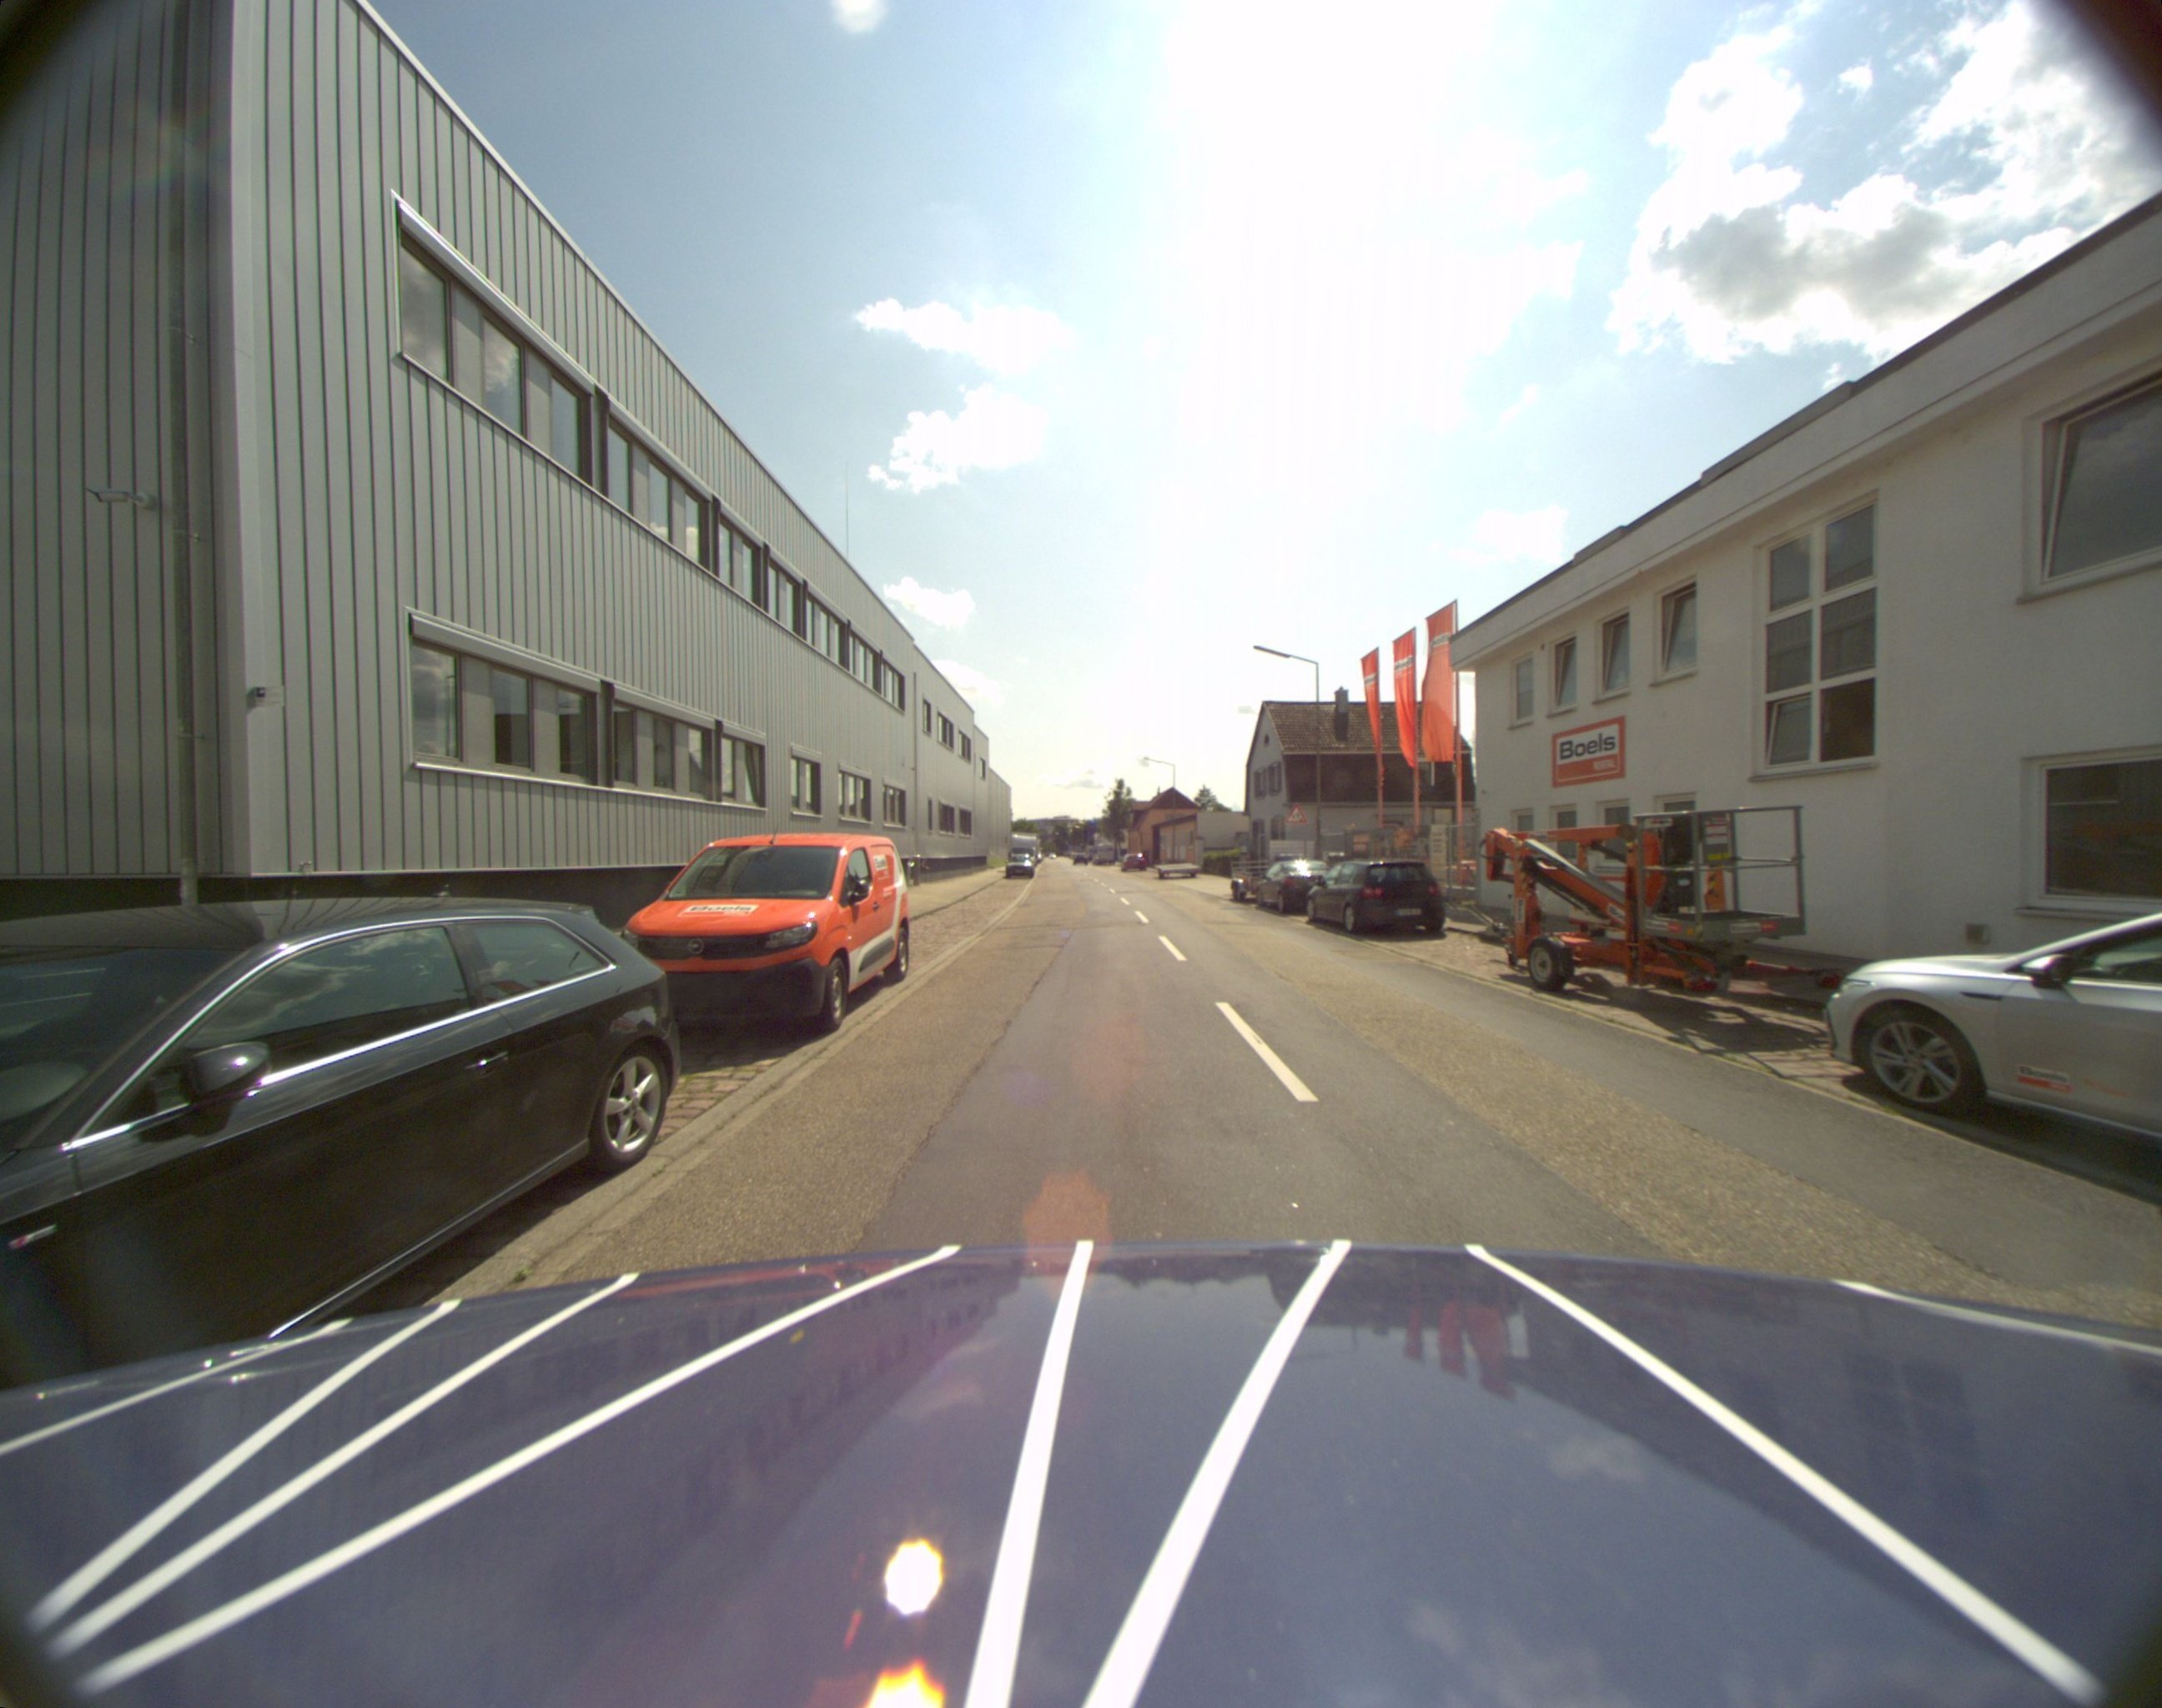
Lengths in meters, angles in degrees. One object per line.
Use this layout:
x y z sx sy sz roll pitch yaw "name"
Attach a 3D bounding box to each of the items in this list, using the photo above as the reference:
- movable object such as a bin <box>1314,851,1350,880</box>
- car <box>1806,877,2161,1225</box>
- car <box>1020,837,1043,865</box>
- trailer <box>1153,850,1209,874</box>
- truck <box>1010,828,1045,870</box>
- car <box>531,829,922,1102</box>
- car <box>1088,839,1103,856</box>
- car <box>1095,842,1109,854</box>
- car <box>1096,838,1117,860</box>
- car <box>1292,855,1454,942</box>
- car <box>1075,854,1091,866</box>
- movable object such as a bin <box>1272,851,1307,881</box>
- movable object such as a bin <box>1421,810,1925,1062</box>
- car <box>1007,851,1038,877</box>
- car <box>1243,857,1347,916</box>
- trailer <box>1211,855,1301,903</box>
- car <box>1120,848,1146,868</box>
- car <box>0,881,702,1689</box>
12.344 0.568 37.446 1.319 1.419 1.151 0 1 -5 "movable object such as a bin"
5.719 0.936 2.864 1.677 1.447 4.513 -2 1 1 "car"
-6.194 -0.383 96.026 2.419 3.269 6.896 5 0 -2 "car"
5.830 0.434 45.123 2.457 1.157 6.051 -2 1 0 "trailer"
-4.549 -0.443 63.905 2.608 3.207 8.073 -3 1 -5 "truck"
-3.090 0.806 7.867 1.877 1.881 4.451 -5 1 -1 "car"
2.250 -1.114 122.346 1.999 2.556 5.822 -3 1 -2 "car"
2.797 -0.782 103.012 1.658 1.483 3.715 -3 1 -2 "car"
3.160 -0.610 95.831 2.079 2.527 5.822 -3 1 -2 "car"
5.844 0.803 15.796 1.677 1.447 4.223 -2 1 0 "car"
0.232 0.716 94.234 1.740 1.434 3.998 0 1 -3 "car"
10.236 0.591 37.341 1.319 1.419 1.188 0 1 -5 "movable object such as a bin"
5.902 0.650 8.661 1.618 1.908 5.138 -4 0 0 "movable object such as a bin"
-3.817 0.636 50.077 1.715 1.502 4.113 -3 1 -2 "car"
5.775 0.819 20.969 1.677 1.368 3.883 -2 1 -1 "car"
5.809 0.764 25.917 1.772 1.368 5.050 -2 1 -1 "trailer"
4.355 0.314 64.171 1.714 1.459 4.628 -3 1 -1 "car"
-3.099 0.997 2.272 1.663 1.549 4.177 -3 1 1 "car"
